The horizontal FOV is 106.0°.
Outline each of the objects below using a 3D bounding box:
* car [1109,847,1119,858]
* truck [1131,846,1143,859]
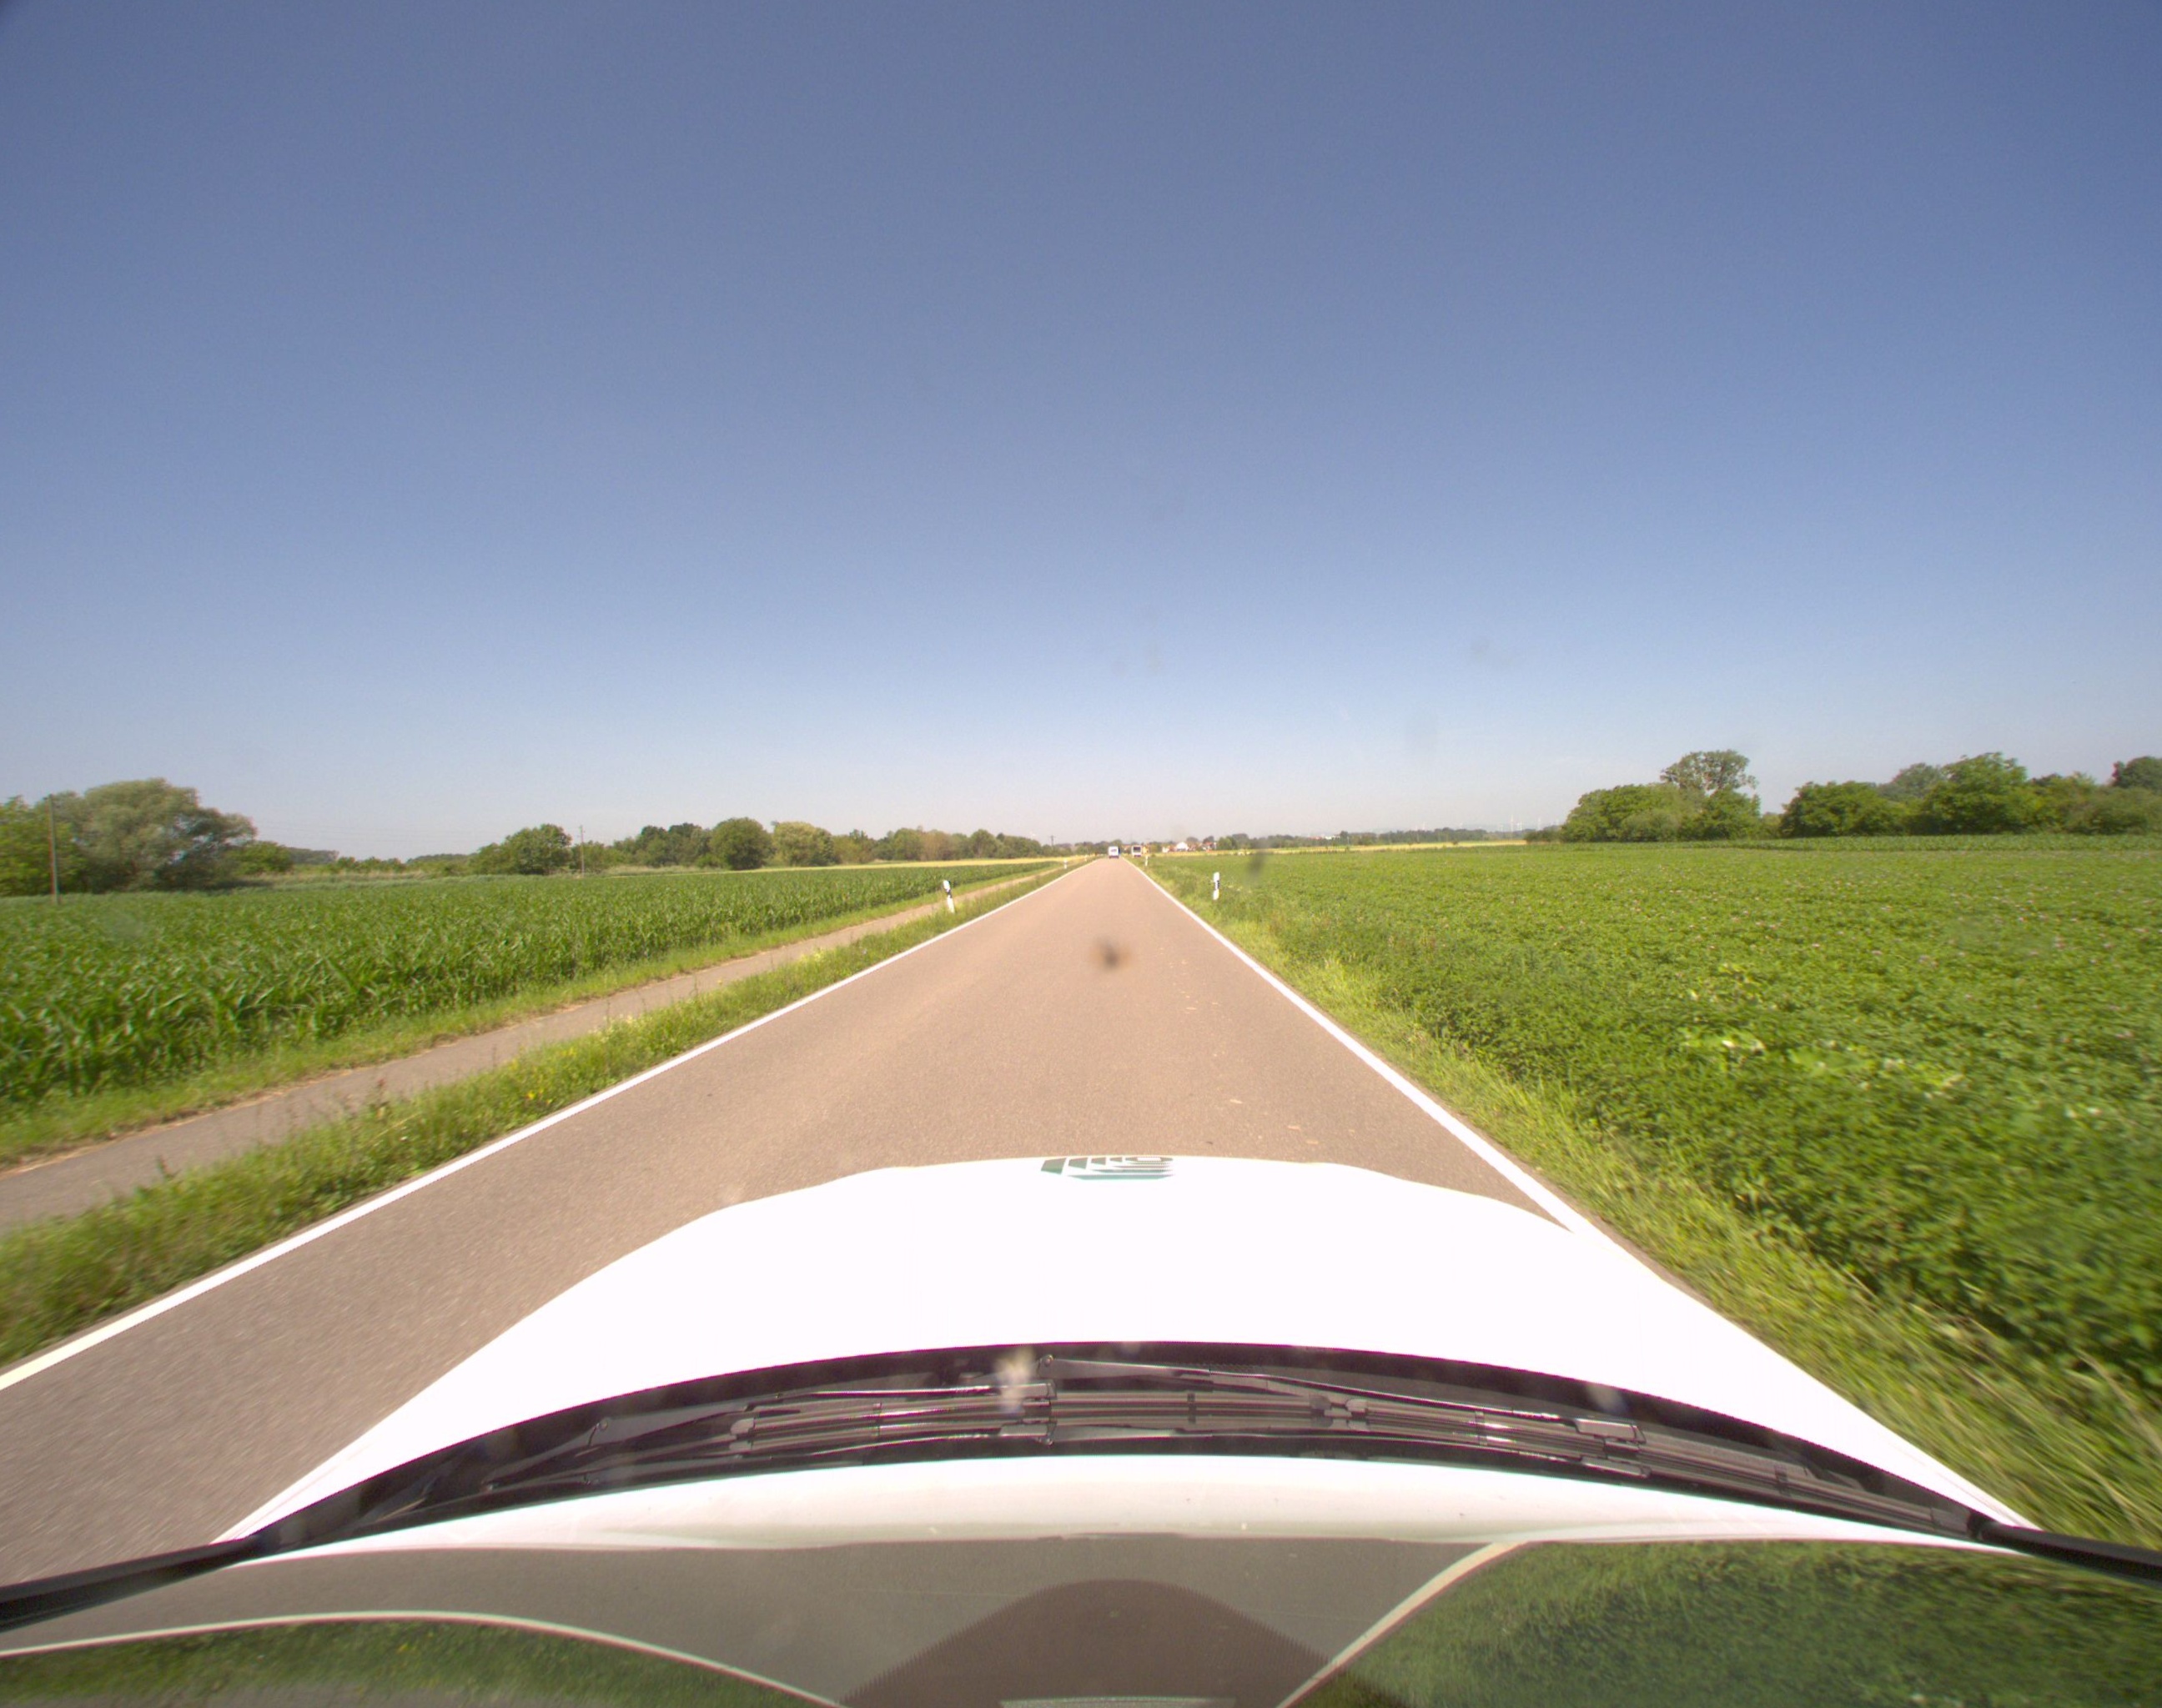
[{"bbox_3d":[7.050,-0.220,173.415,2.099,2.304,5.498,0,0,2],"label":"car"},{"bbox_3d":[13.122,-0.237,192.452,2.328,2.942,7.008,1,0,0],"label":"truck"}]
